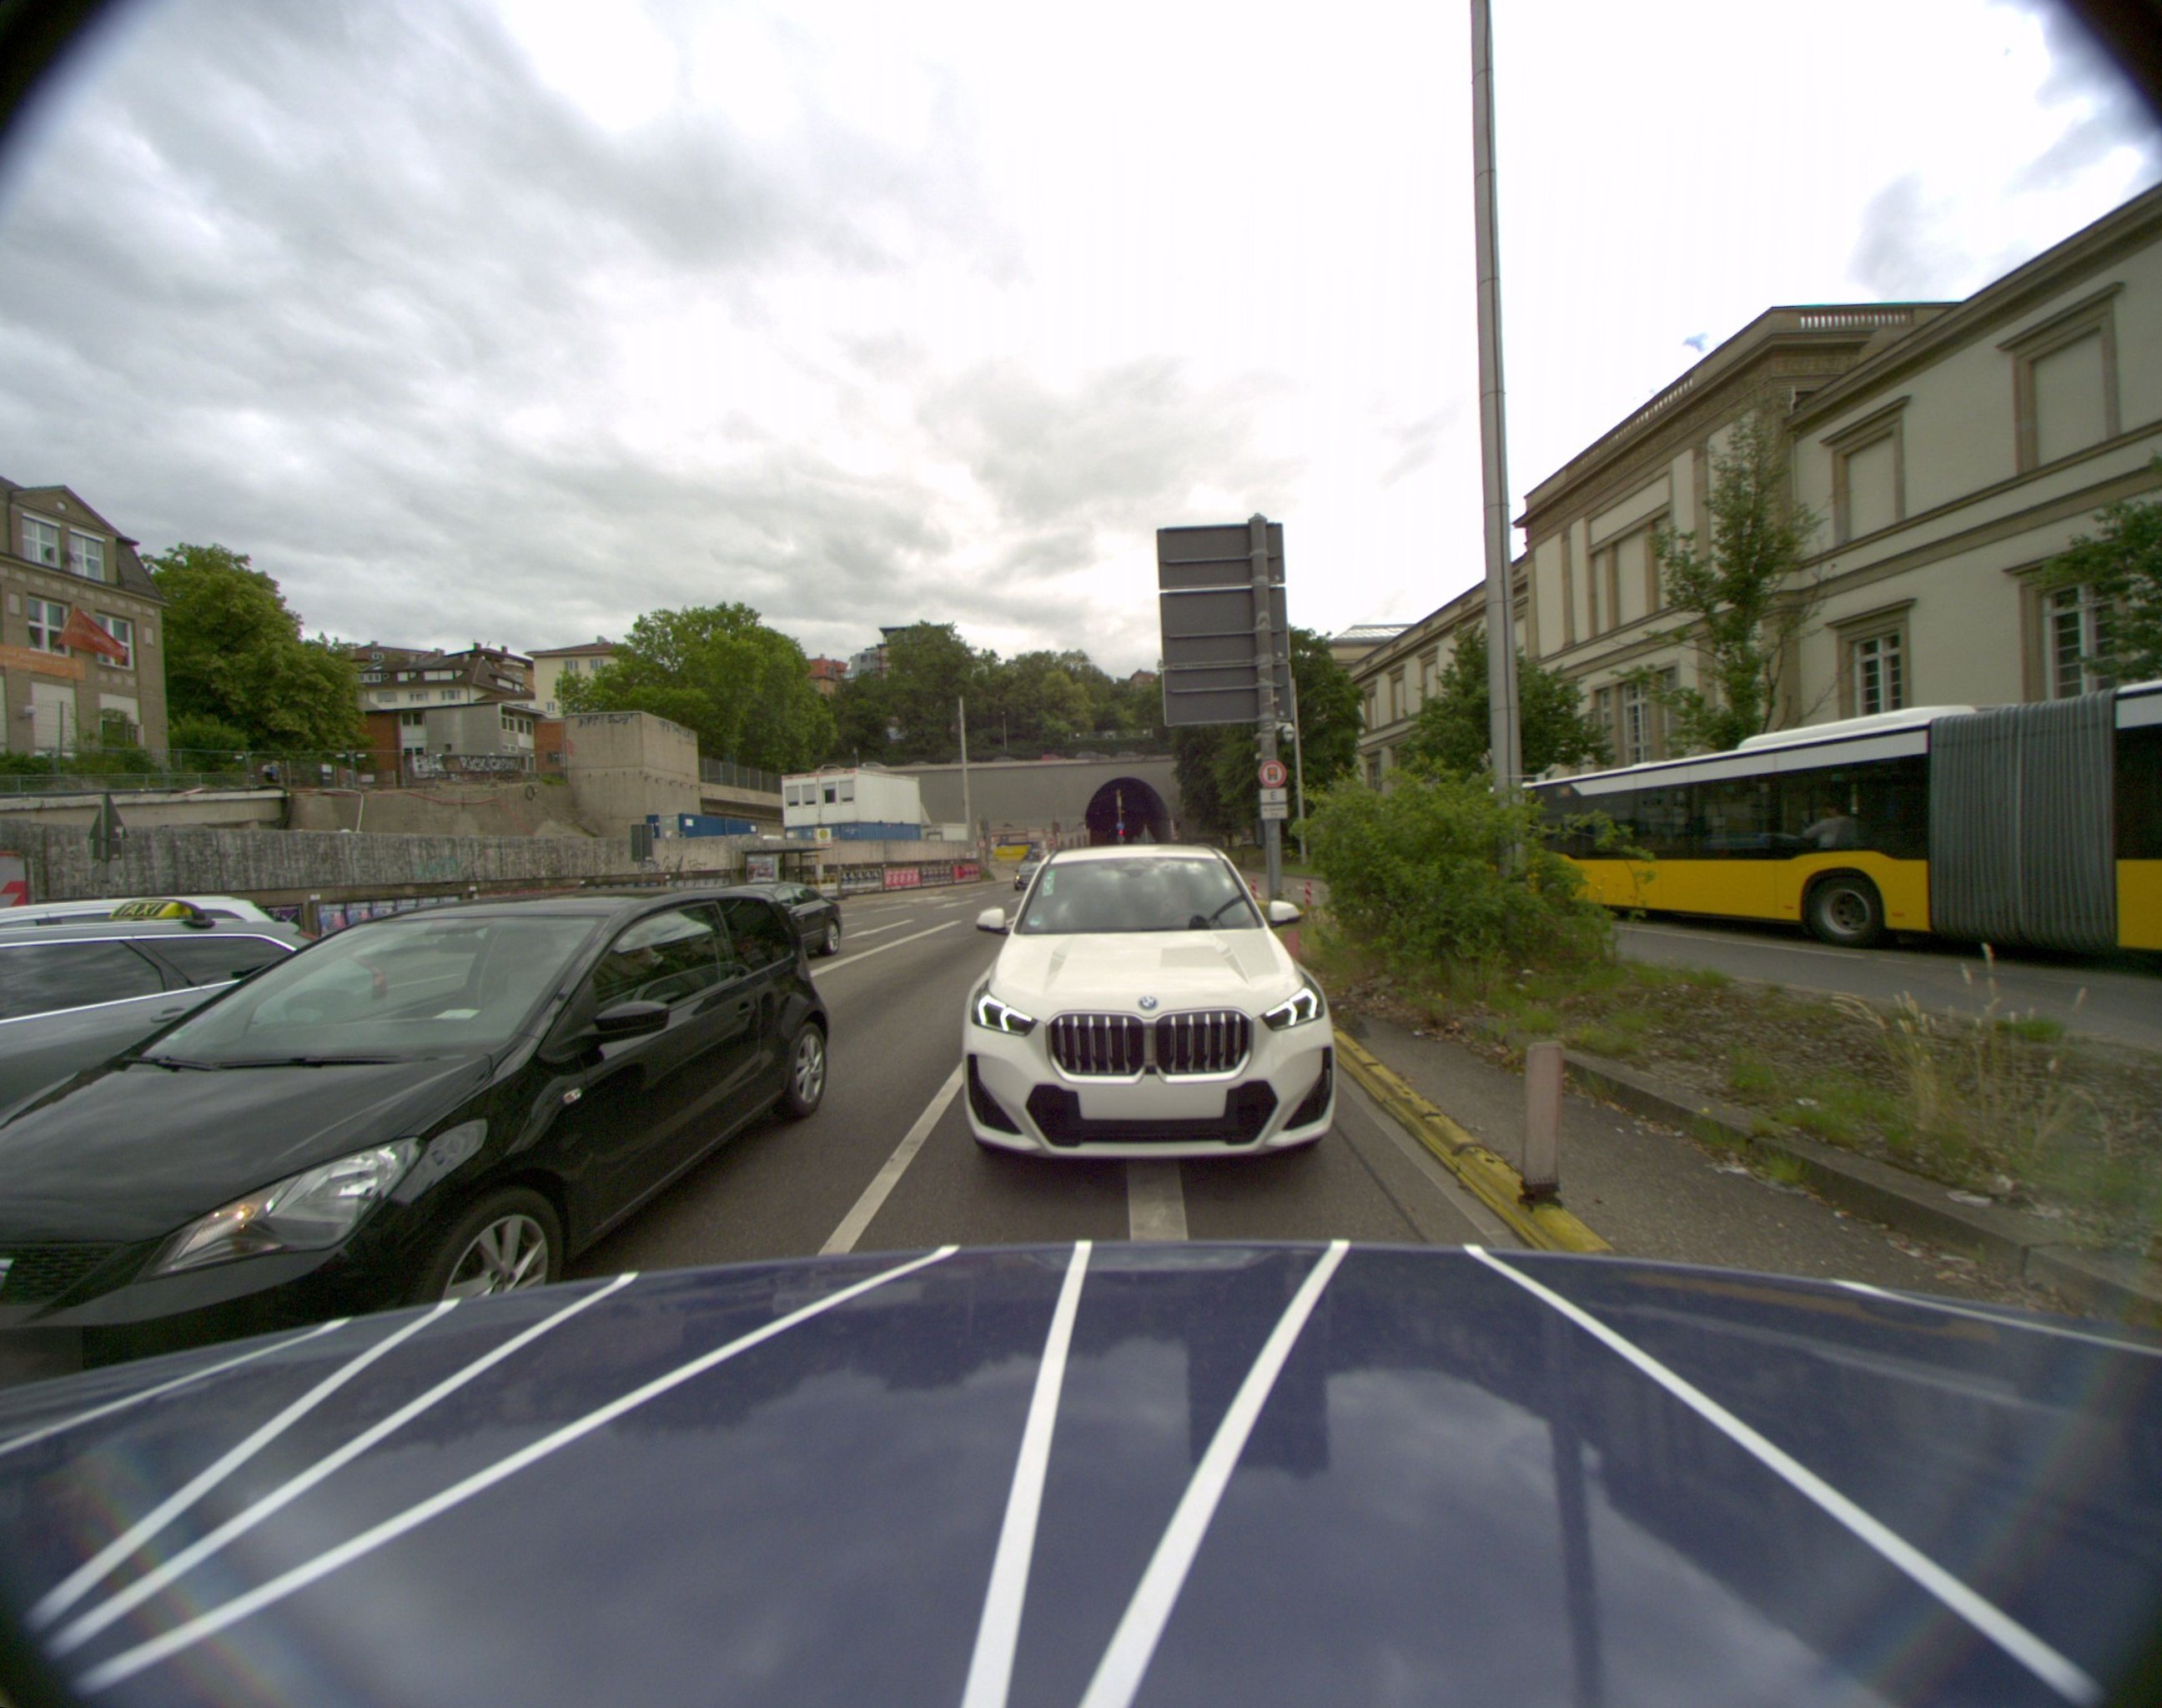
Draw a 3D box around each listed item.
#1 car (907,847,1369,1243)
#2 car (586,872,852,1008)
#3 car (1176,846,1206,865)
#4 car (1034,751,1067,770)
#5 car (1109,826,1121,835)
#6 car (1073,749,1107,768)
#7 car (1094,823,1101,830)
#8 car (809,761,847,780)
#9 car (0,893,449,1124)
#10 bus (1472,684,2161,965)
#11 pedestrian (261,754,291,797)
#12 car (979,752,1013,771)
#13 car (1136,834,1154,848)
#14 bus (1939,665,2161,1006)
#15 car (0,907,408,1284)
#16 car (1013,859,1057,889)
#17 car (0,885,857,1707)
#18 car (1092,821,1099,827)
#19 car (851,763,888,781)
[{"bbox_3d":[0.298,0.803,5.113,1.848,1.581,3.882,-3,0,2],"label":"car"},{"bbox_3d":[-5.357,1.167,12.064,1.704,1.550,4.552,-3,0,4],"label":"car"},{"bbox_3d":[9.144,0.095,63.518,1.705,1.463,4.629,-3,0,-1],"label":"car"},{"bbox_3d":[-3.765,-11.638,94.395,3.998,2.002,1.999,-2,1,-2],"label":"car"},{"bbox_3d":[6.252,-4.251,139.272,1.711,1.505,4.287,0,0,-3],"label":"car"},{"bbox_3d":[1.113,-11.816,94.479,3.998,2.002,1.999,-2,1,-2],"label":"car"},{"bbox_3d":[4.319,-7.247,199.656,1.667,1.582,3.882,-1,0,2],"label":"car"},{"bbox_3d":[-31.052,-10.251,93.305,3.998,2.002,1.999,-2,1,-5],"label":"car"},{"bbox_3d":[-9.055,1.326,7.358,1.704,1.550,4.552,-3,0,6],"label":"car"},{"bbox_3d":[11.108,-0.352,13.569,2.853,3.096,9.746,-3,0,-2],"label":"bus"},{"bbox_3d":[-38.956,-3.771,36.768,0.646,2.002,0.666,-2,1,-3],"label":"pedestrian"},{"bbox_3d":[-10.472,-11.390,94.001,3.998,2.002,1.999,-2,1,-2],"label":"car"},{"bbox_3d":[7.917,-1.573,94.396,1.701,1.580,3.882,-3,0,-1],"label":"car"},{"bbox_3d":[11.218,-0.221,4.076,2.853,3.096,9.121,-3,0,0],"label":"bus"},{"bbox_3d":[-5.888,1.223,3.145,1.826,1.562,4.654,-3,0,3],"label":"car"},{"bbox_3d":[-2.435,1.028,41.207,1.730,1.435,4.001,-3,0,5],"label":"car"},{"bbox_3d":[-2.503,1.006,3.403,1.667,1.487,3.882,-3,0,2],"label":"car"},{"bbox_3d":[4.313,-8.809,222.246,1.711,1.505,4.288,-3,0,-1],"label":"car"},{"bbox_3d":[-26.003,-10.064,93.368,3.998,2.002,1.999,-2,1,-5],"label":"car"}]
